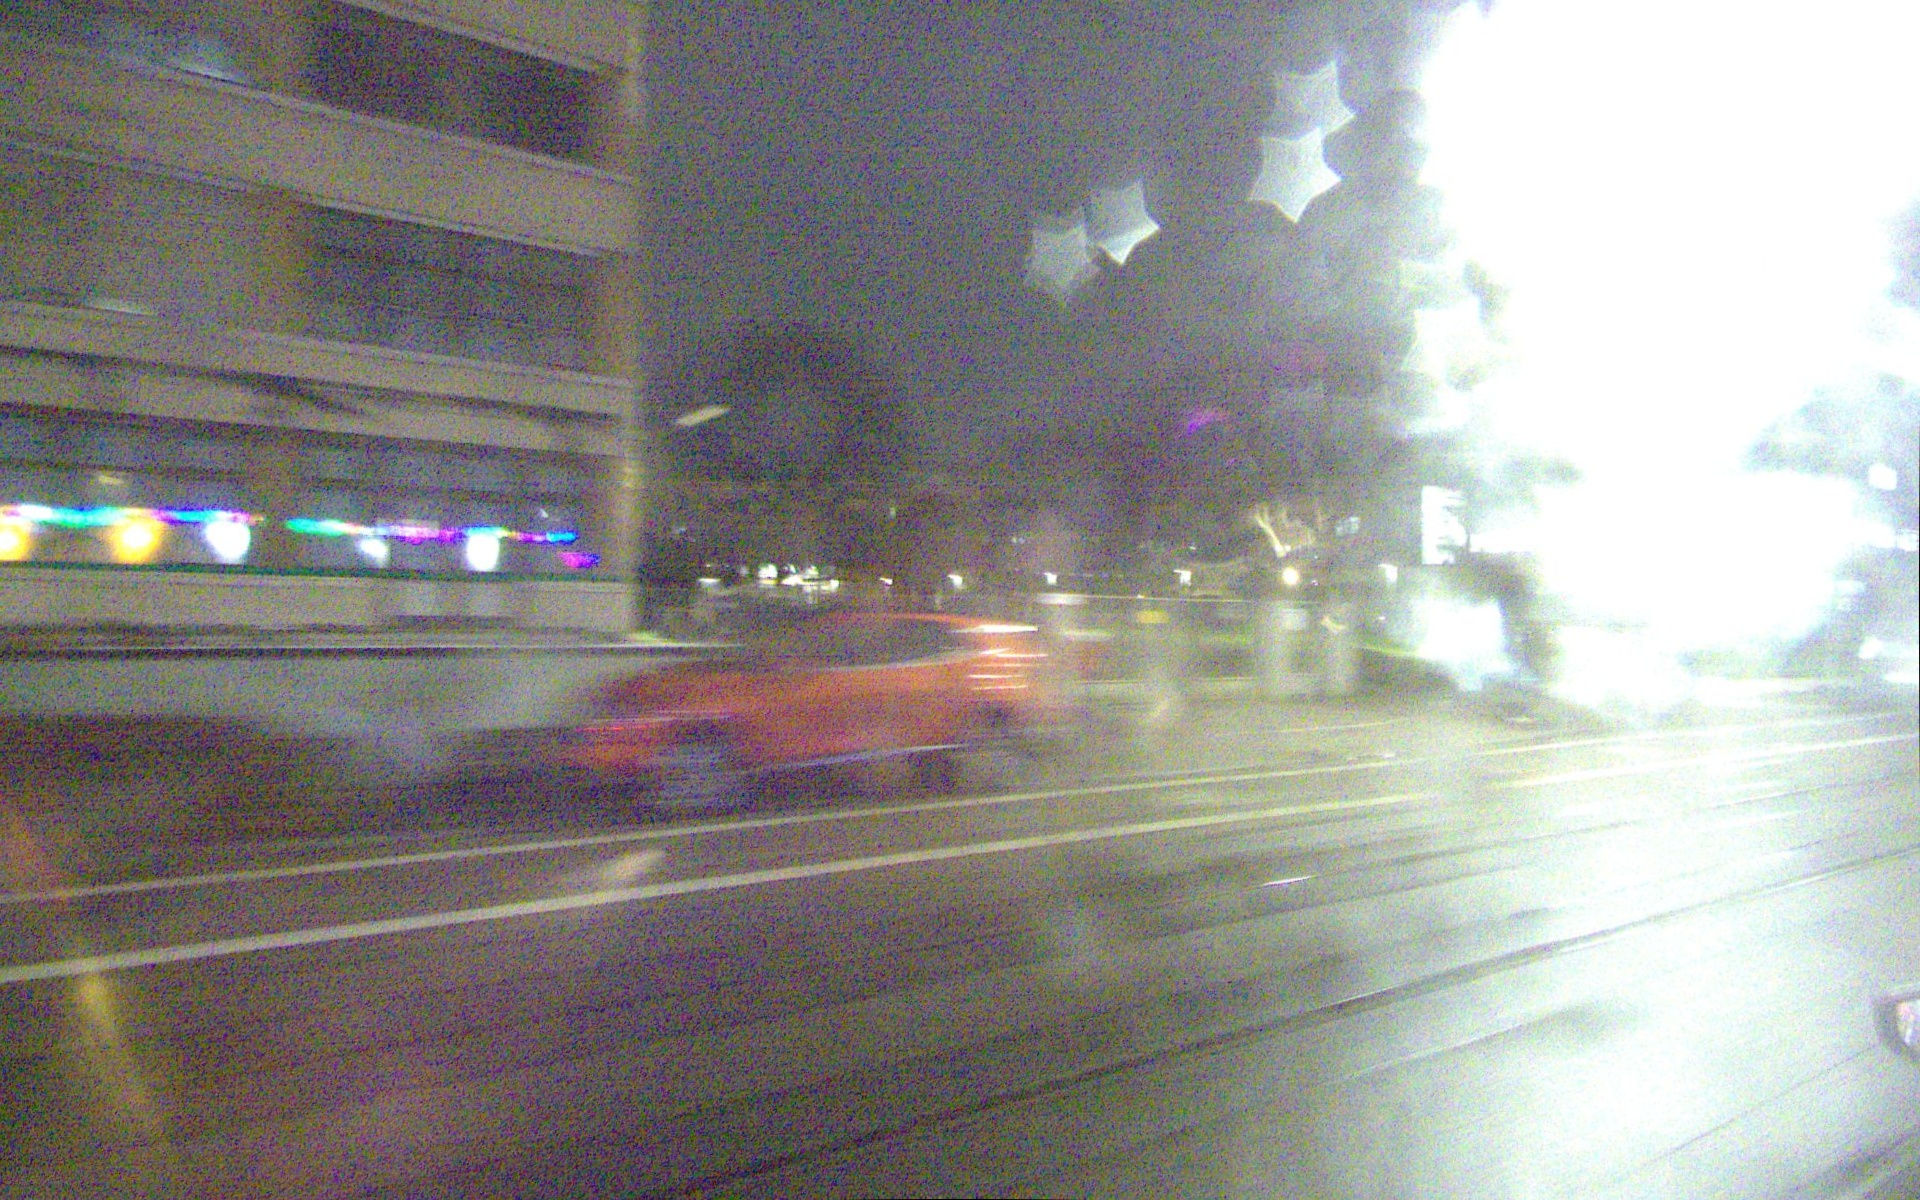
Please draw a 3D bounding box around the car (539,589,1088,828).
[{"bbox_3d":[-1.269,0.830,9.170,4.545,1.678,1.961,2,1,-29],"label":"car"}]

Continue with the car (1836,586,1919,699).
[{"bbox_3d":[24.842,1.019,25.265,6.312,2.626,2.176,1,0,-29],"label":"car"}]
